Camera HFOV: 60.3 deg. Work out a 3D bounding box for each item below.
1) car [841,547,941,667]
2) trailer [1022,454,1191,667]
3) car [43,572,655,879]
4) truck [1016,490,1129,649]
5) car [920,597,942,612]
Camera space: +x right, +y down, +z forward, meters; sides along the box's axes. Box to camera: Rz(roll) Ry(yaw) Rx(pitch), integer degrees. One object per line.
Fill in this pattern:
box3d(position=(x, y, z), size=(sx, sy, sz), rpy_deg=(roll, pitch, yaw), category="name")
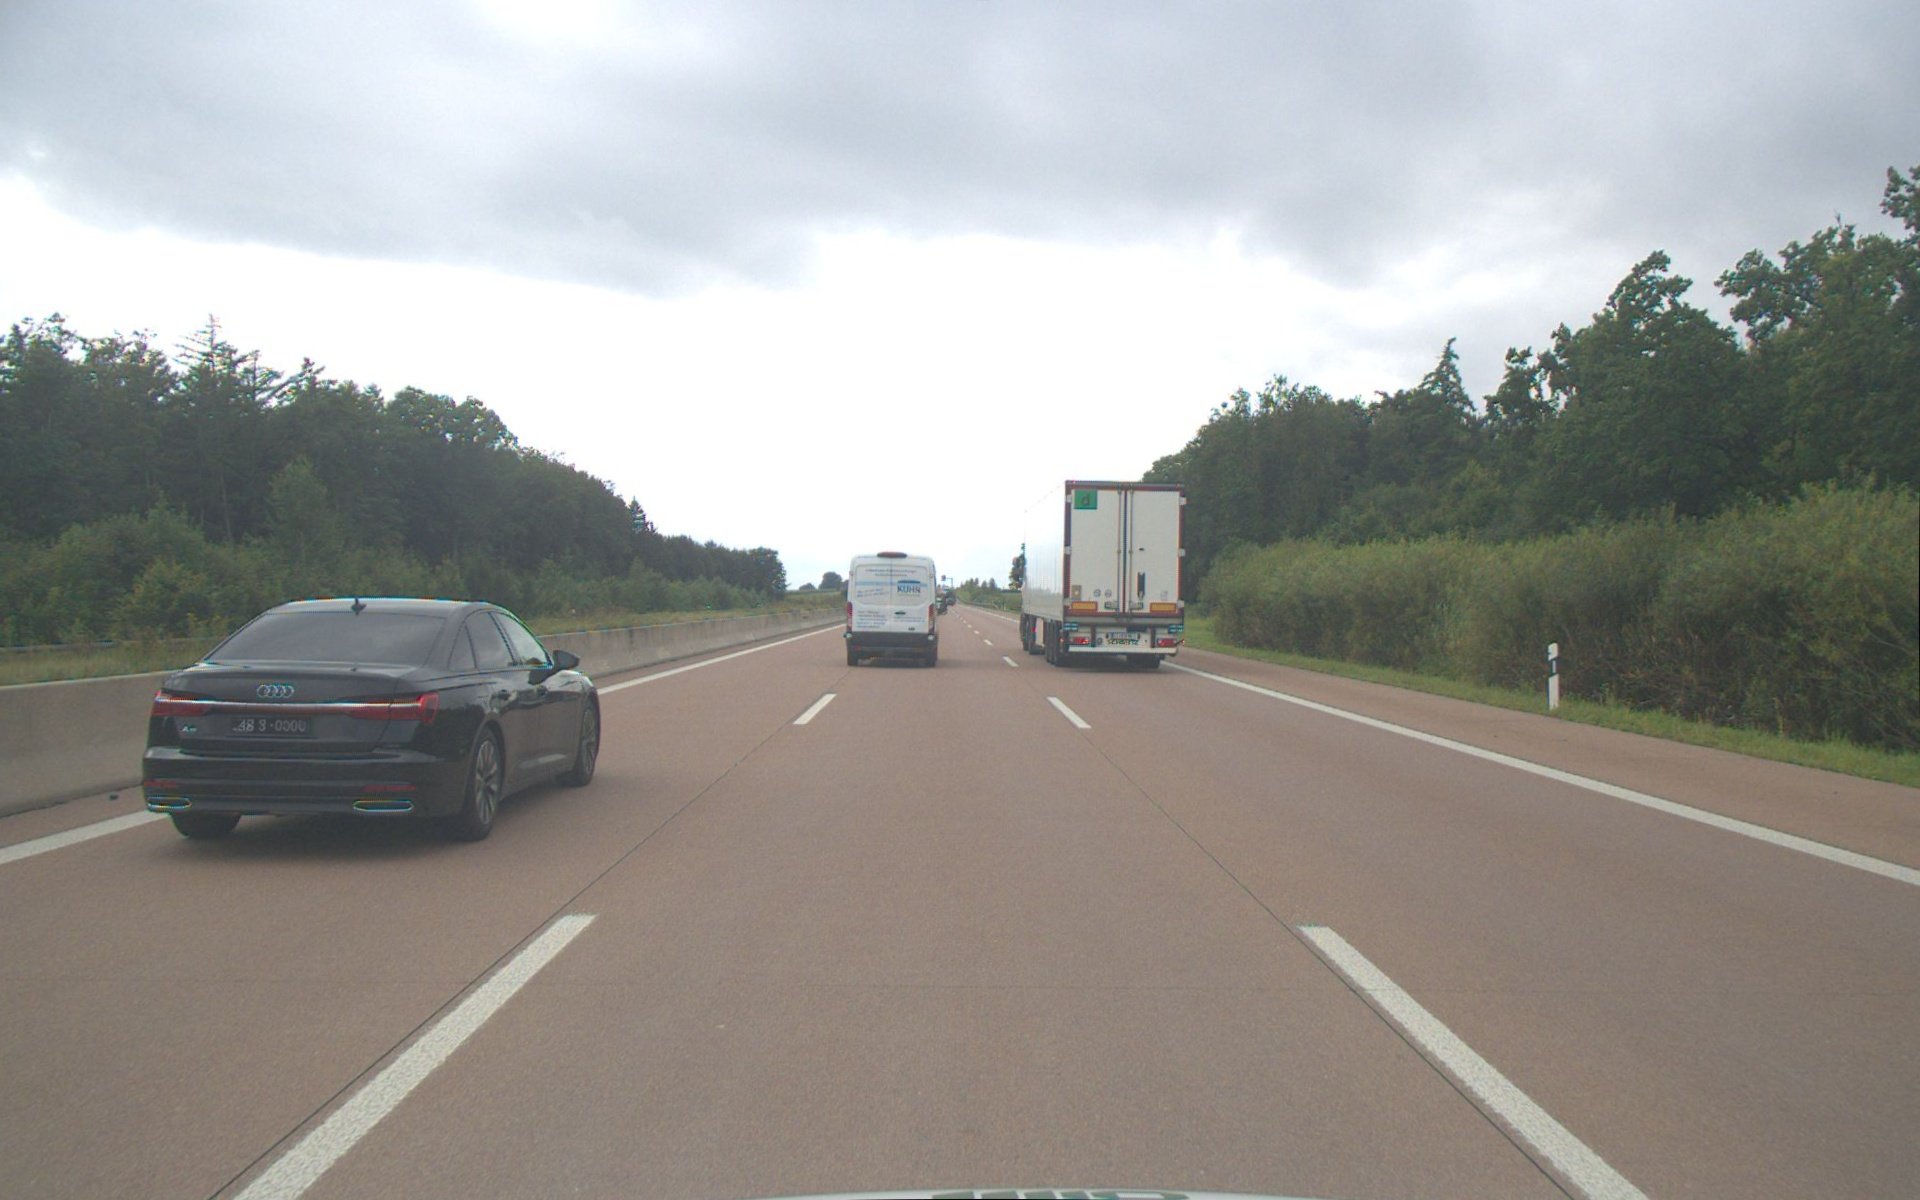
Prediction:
box3d(position=(-1.516, 0.112, 38.923), size=(2.094, 2.551, 7.131), rpy_deg=(0, 1, -1), category="car")
box3d(position=(3.277, -0.815, 40.957), size=(2.862, 4.369, 13.612), rpy_deg=(0, 0, 0), category="trailer")
box3d(position=(-3.763, 0.645, 11.604), size=(2.042, 1.577, 5.675), rpy_deg=(1, 0, 1), category="car")
box3d(position=(3.204, -0.851, 48.479), size=(2.862, 4.369, 5.334), rpy_deg=(0, 0, -1), category="truck")
box3d(position=(-3.102, 0.442, 177.643), size=(2.119, 1.476, 4.719), rpy_deg=(2, 1, 1), category="car")
